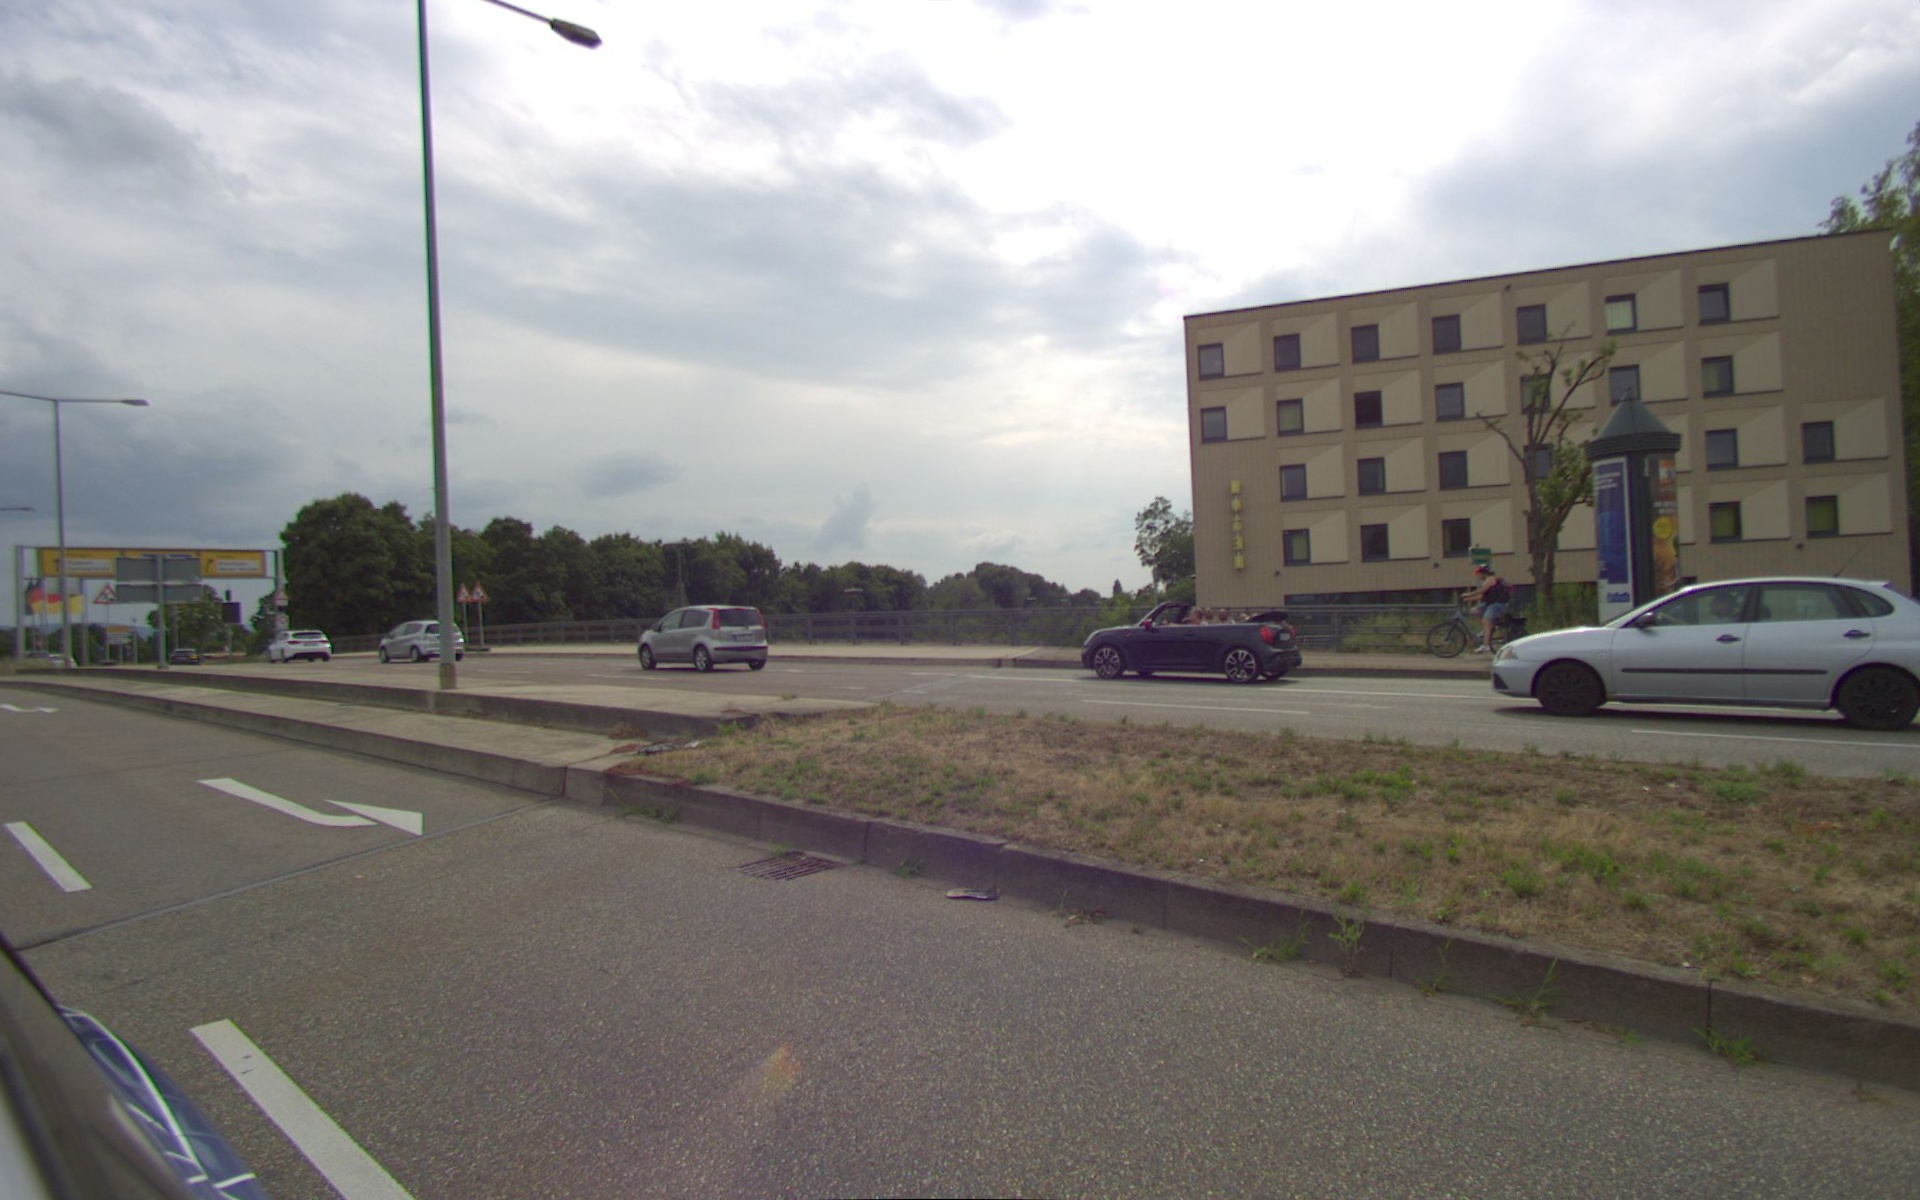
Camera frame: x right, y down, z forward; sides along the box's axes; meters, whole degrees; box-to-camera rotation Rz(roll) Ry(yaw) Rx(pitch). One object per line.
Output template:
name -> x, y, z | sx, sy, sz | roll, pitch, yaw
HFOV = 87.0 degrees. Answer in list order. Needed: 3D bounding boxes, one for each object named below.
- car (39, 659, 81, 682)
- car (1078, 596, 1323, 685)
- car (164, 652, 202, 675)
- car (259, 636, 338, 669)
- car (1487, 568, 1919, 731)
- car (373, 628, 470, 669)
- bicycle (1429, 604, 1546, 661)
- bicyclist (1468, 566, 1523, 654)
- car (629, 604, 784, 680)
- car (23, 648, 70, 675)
car -> -70.327, 5.523, 79.066 | 4.215, 1.652, 1.867 | -3, -1, 41
car -> 4.201, 0.698, 17.919 | 3.869, 1.421, 1.726 | -2, -2, 37
car -> -60.384, 4.936, 78.624 | 1.865, 1.652, 4.550 | -1, -1, -43
car -> -30.725, 2.438, 46.967 | 4.879, 1.426, 1.898 | -3, -3, 42
car -> 7.703, 0.471, 10.365 | 3.855, 1.421, 1.601 | -2, -2, 38
car -> -20.055, 1.781, 37.617 | 4.025, 1.426, 1.791 | -2, -1, 39
bicycle -> 10.436, 0.651, 20.107 | 1.982, 1.061, 0.681 | -2, -1, 24
bicyclist -> 10.588, 0.193, 20.026 | 0.842, 1.684, 0.681 | -2, -1, 24
car -> -6.171, 0.988, 24.391 | 4.079, 1.671, 1.722 | -2, -2, 43
car -> -61.636, 4.164, 68.244 | 4.583, 1.652, 1.867 | -3, -1, 42
